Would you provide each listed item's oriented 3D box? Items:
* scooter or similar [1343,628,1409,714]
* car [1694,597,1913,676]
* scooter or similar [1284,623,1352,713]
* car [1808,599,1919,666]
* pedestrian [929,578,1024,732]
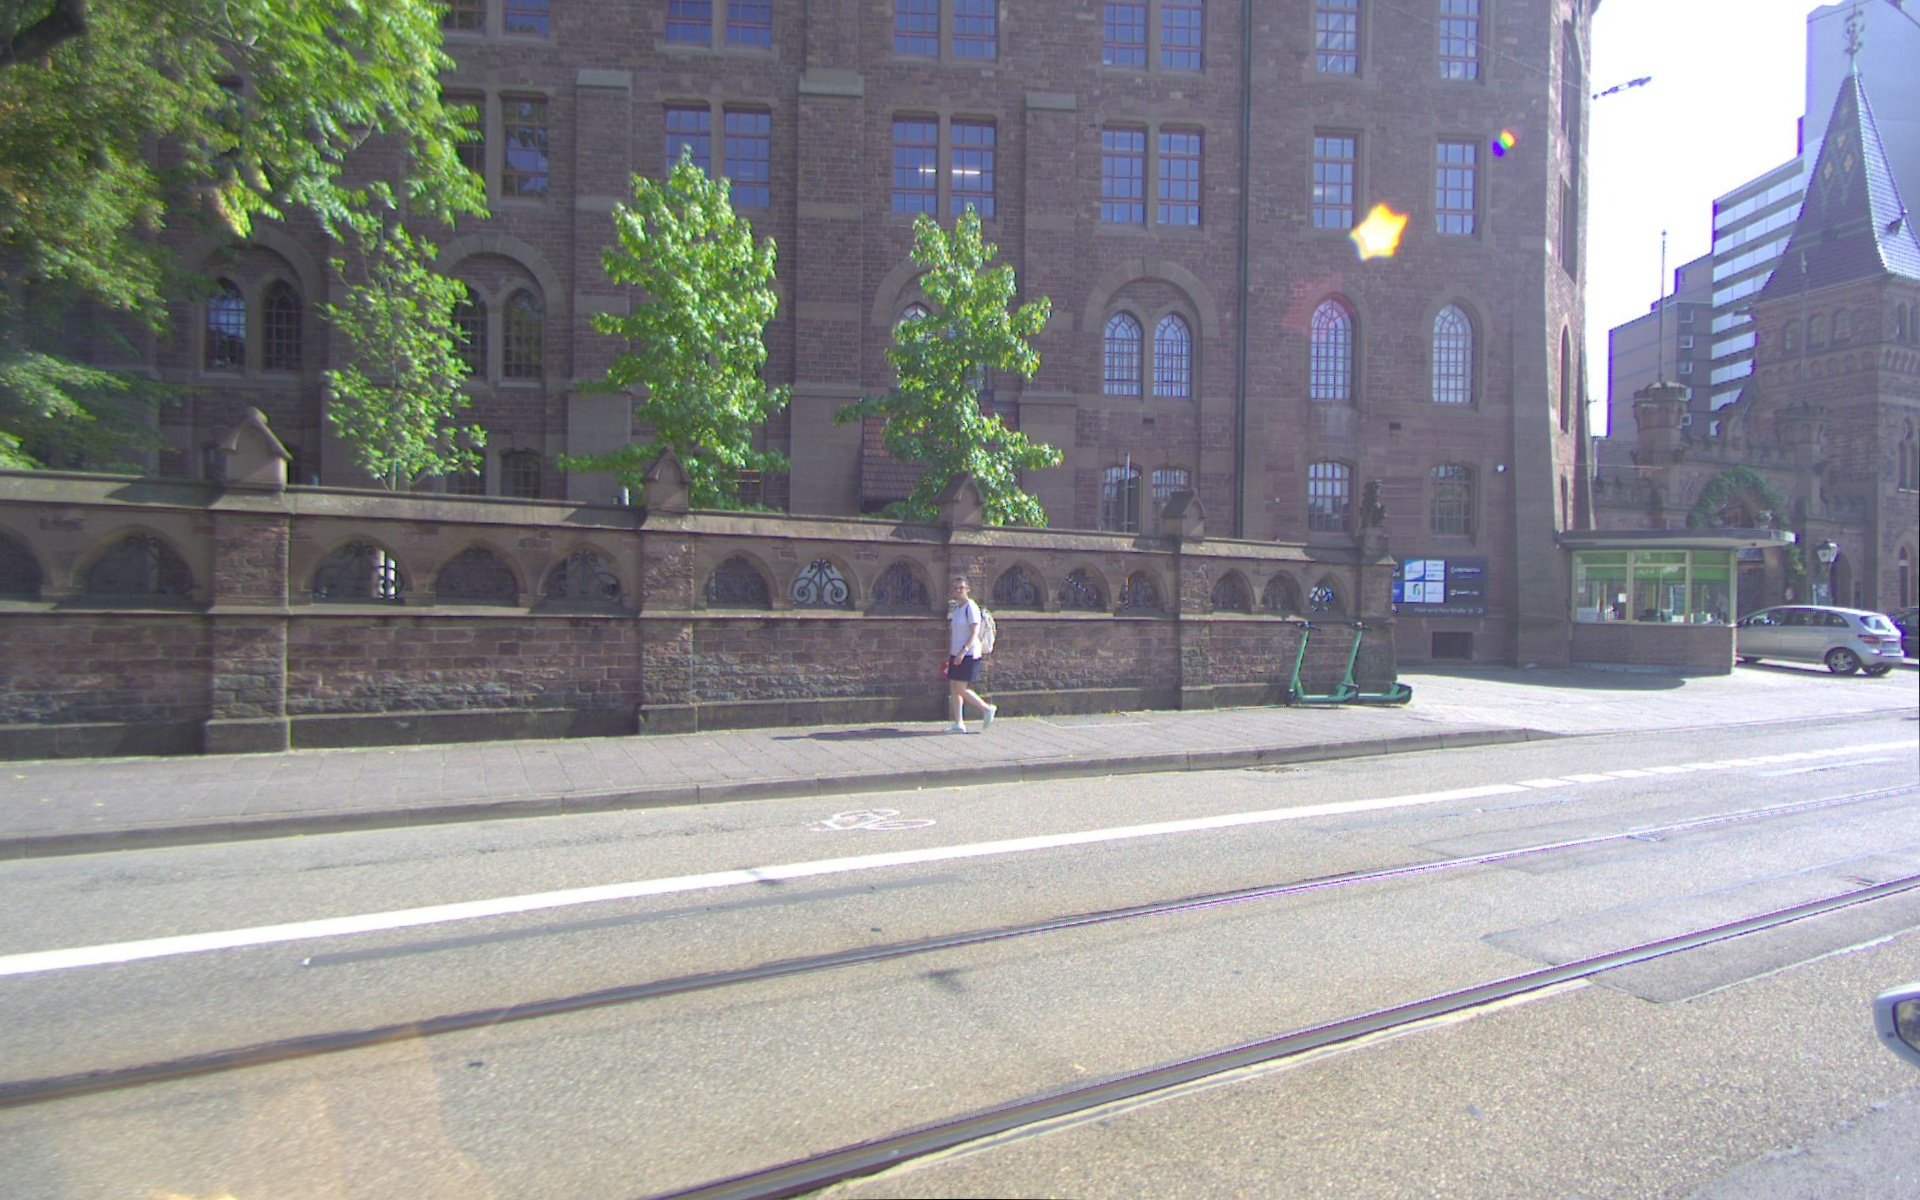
[{"bbox_3d":[6.058,1.025,14.621,0.802,1.163,0.283,4,1,26],"label":"scooter or similar"},{"bbox_3d":[21.742,0.888,26.067,1.798,1.617,3.887,1,4,-25],"label":"car"},{"bbox_3d":[4.994,0.936,14.029,0.802,1.163,0.283,4,1,26],"label":"scooter or similar"},{"bbox_3d":[26.994,0.967,28.220,1.934,1.668,4.375,1,4,-30],"label":"car"},{"bbox_3d":[0.175,0.582,10.996,0.765,1.610,0.712,1,0,-28],"label":"pedestrian"}]
